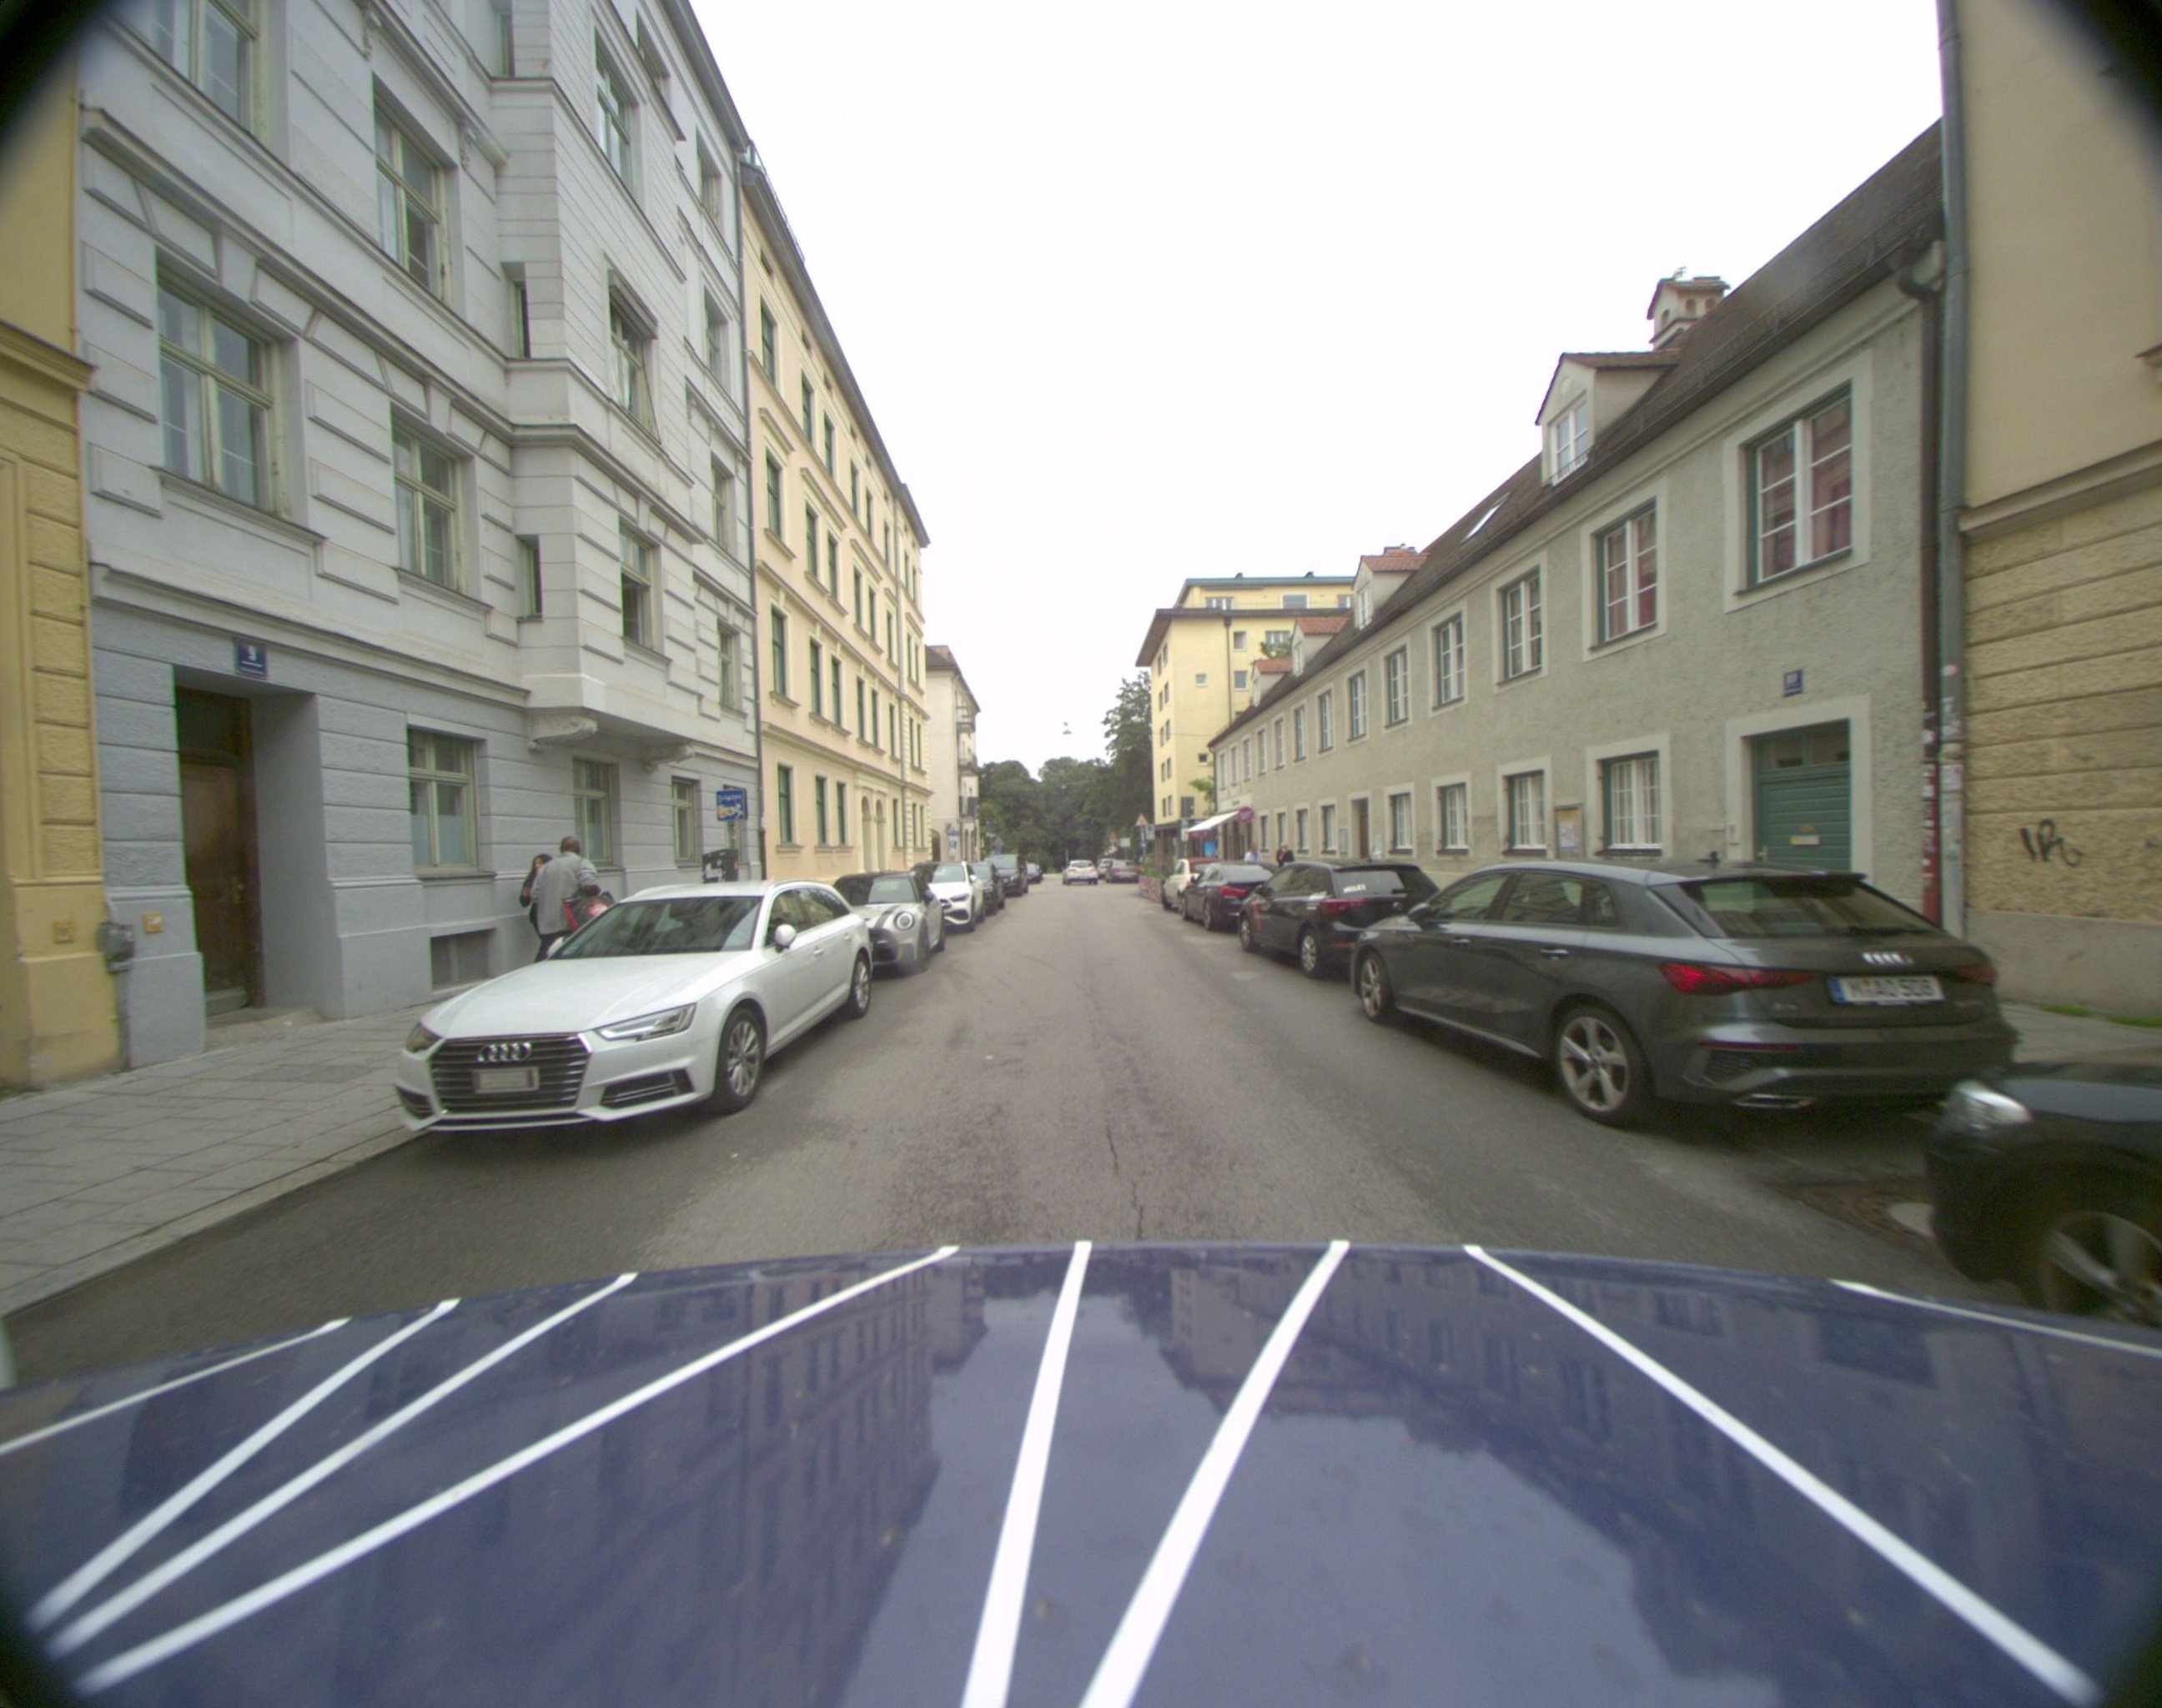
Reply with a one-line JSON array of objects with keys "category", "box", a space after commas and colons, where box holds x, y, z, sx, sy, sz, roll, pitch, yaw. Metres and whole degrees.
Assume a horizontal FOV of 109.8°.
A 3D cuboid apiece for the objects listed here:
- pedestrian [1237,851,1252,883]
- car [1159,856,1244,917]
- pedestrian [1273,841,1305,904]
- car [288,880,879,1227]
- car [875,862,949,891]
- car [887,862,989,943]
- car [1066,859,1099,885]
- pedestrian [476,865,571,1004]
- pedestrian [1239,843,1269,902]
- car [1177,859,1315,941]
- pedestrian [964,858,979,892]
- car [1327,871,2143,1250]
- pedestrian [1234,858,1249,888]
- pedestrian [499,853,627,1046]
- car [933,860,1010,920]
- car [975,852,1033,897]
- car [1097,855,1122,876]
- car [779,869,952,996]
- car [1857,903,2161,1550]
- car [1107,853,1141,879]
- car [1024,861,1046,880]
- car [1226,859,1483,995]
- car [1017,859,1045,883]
[{"category": "pedestrian", "box": [6.555, 0.522, 30.396, 0.523, 1.258, 0.548, -3, -1, 13]}, {"category": "car", "box": [3.310, 0.841, 21.390, 1.573, 1.505, 3.422, -2, 0, -4]}, {"category": "pedestrian", "box": [5.739, 0.495, 21.012, 0.582, 1.688, 0.806, -2, 1, -4]}, {"category": "car", "box": [-3.029, 1.054, 5.970, 1.721, 1.501, 4.468, -2, 0, -1]}, {"category": "car", "box": [-9.883, 1.301, 44.592, 3.998, 1.556, 1.712, -2, 0, -4]}, {"category": "car", "box": [-3.254, 1.038, 18.084, 1.721, 1.592, 4.322, -2, 0, -2]}, {"category": "car", "box": [0.061, 1.008, 43.702, 1.793, 1.409, 3.904, 0, 0, -1]}, {"category": "pedestrian", "box": [-6.592, 0.929, 9.004, 0.646, 1.565, 0.625, 1, 1, 2]}, {"category": "pedestrian", "box": [4.762, 0.502, 20.930, 0.614, 1.589, 0.662, -2, 1, -4]}, {"category": "car", "box": [3.340, 0.874, 16.253, 1.862, 1.393, 4.268, -2, 0, -2]}, {"category": "pedestrian", "box": [-5.878, 1.106, 40.816, 0.698, 1.792, 0.730, -2, 1, -1]}, {"category": "car", "box": [3.504, 0.908, 5.347, 1.863, 1.393, 4.267, -2, 0, -4]}, {"category": "pedestrian", "box": [6.624, 0.775, 31.375, 0.509, 1.206, 0.595, -3, -1, 13]}, {"category": "pedestrian", "box": [-5.274, 0.925, 7.784, 0.703, 1.851, 0.805, -2, 0, -3]}, {"category": "car", "box": [-3.226, 1.019, 23.039, 1.721, 1.557, 4.142, -2, 0, 0]}, {"category": "car", "box": [-3.395, 0.869, 34.464, 1.998, 1.850, 5.113, -2, 0, 1]}, {"category": "car", "box": [2.221, 0.893, 60.722, 1.711, 1.550, 3.999, -2, 0, -1]}, {"category": "car", "box": [-3.089, 1.037, 11.688, 1.722, 1.501, 3.935, -2, 0, -4]}, {"category": "car", "box": [3.439, 0.857, 0.257, 1.862, 1.393, 4.268, -2, 0, -3]}, {"category": "car", "box": [2.620, 0.707, 46.685, 1.711, 1.491, 3.999, -2, 0, -1]}, {"category": "car", "box": [-3.881, 1.354, 64.393, 1.711, 1.491, 3.999, -2, 0, -1]}, {"category": "car", "box": [3.463, 0.829, 10.608, 1.862, 1.393, 4.268, -2, 0, -2]}, {"category": "car", "box": [-3.378, 1.159, 52.280, 1.711, 1.491, 3.999, -2, 0, -1]}]
